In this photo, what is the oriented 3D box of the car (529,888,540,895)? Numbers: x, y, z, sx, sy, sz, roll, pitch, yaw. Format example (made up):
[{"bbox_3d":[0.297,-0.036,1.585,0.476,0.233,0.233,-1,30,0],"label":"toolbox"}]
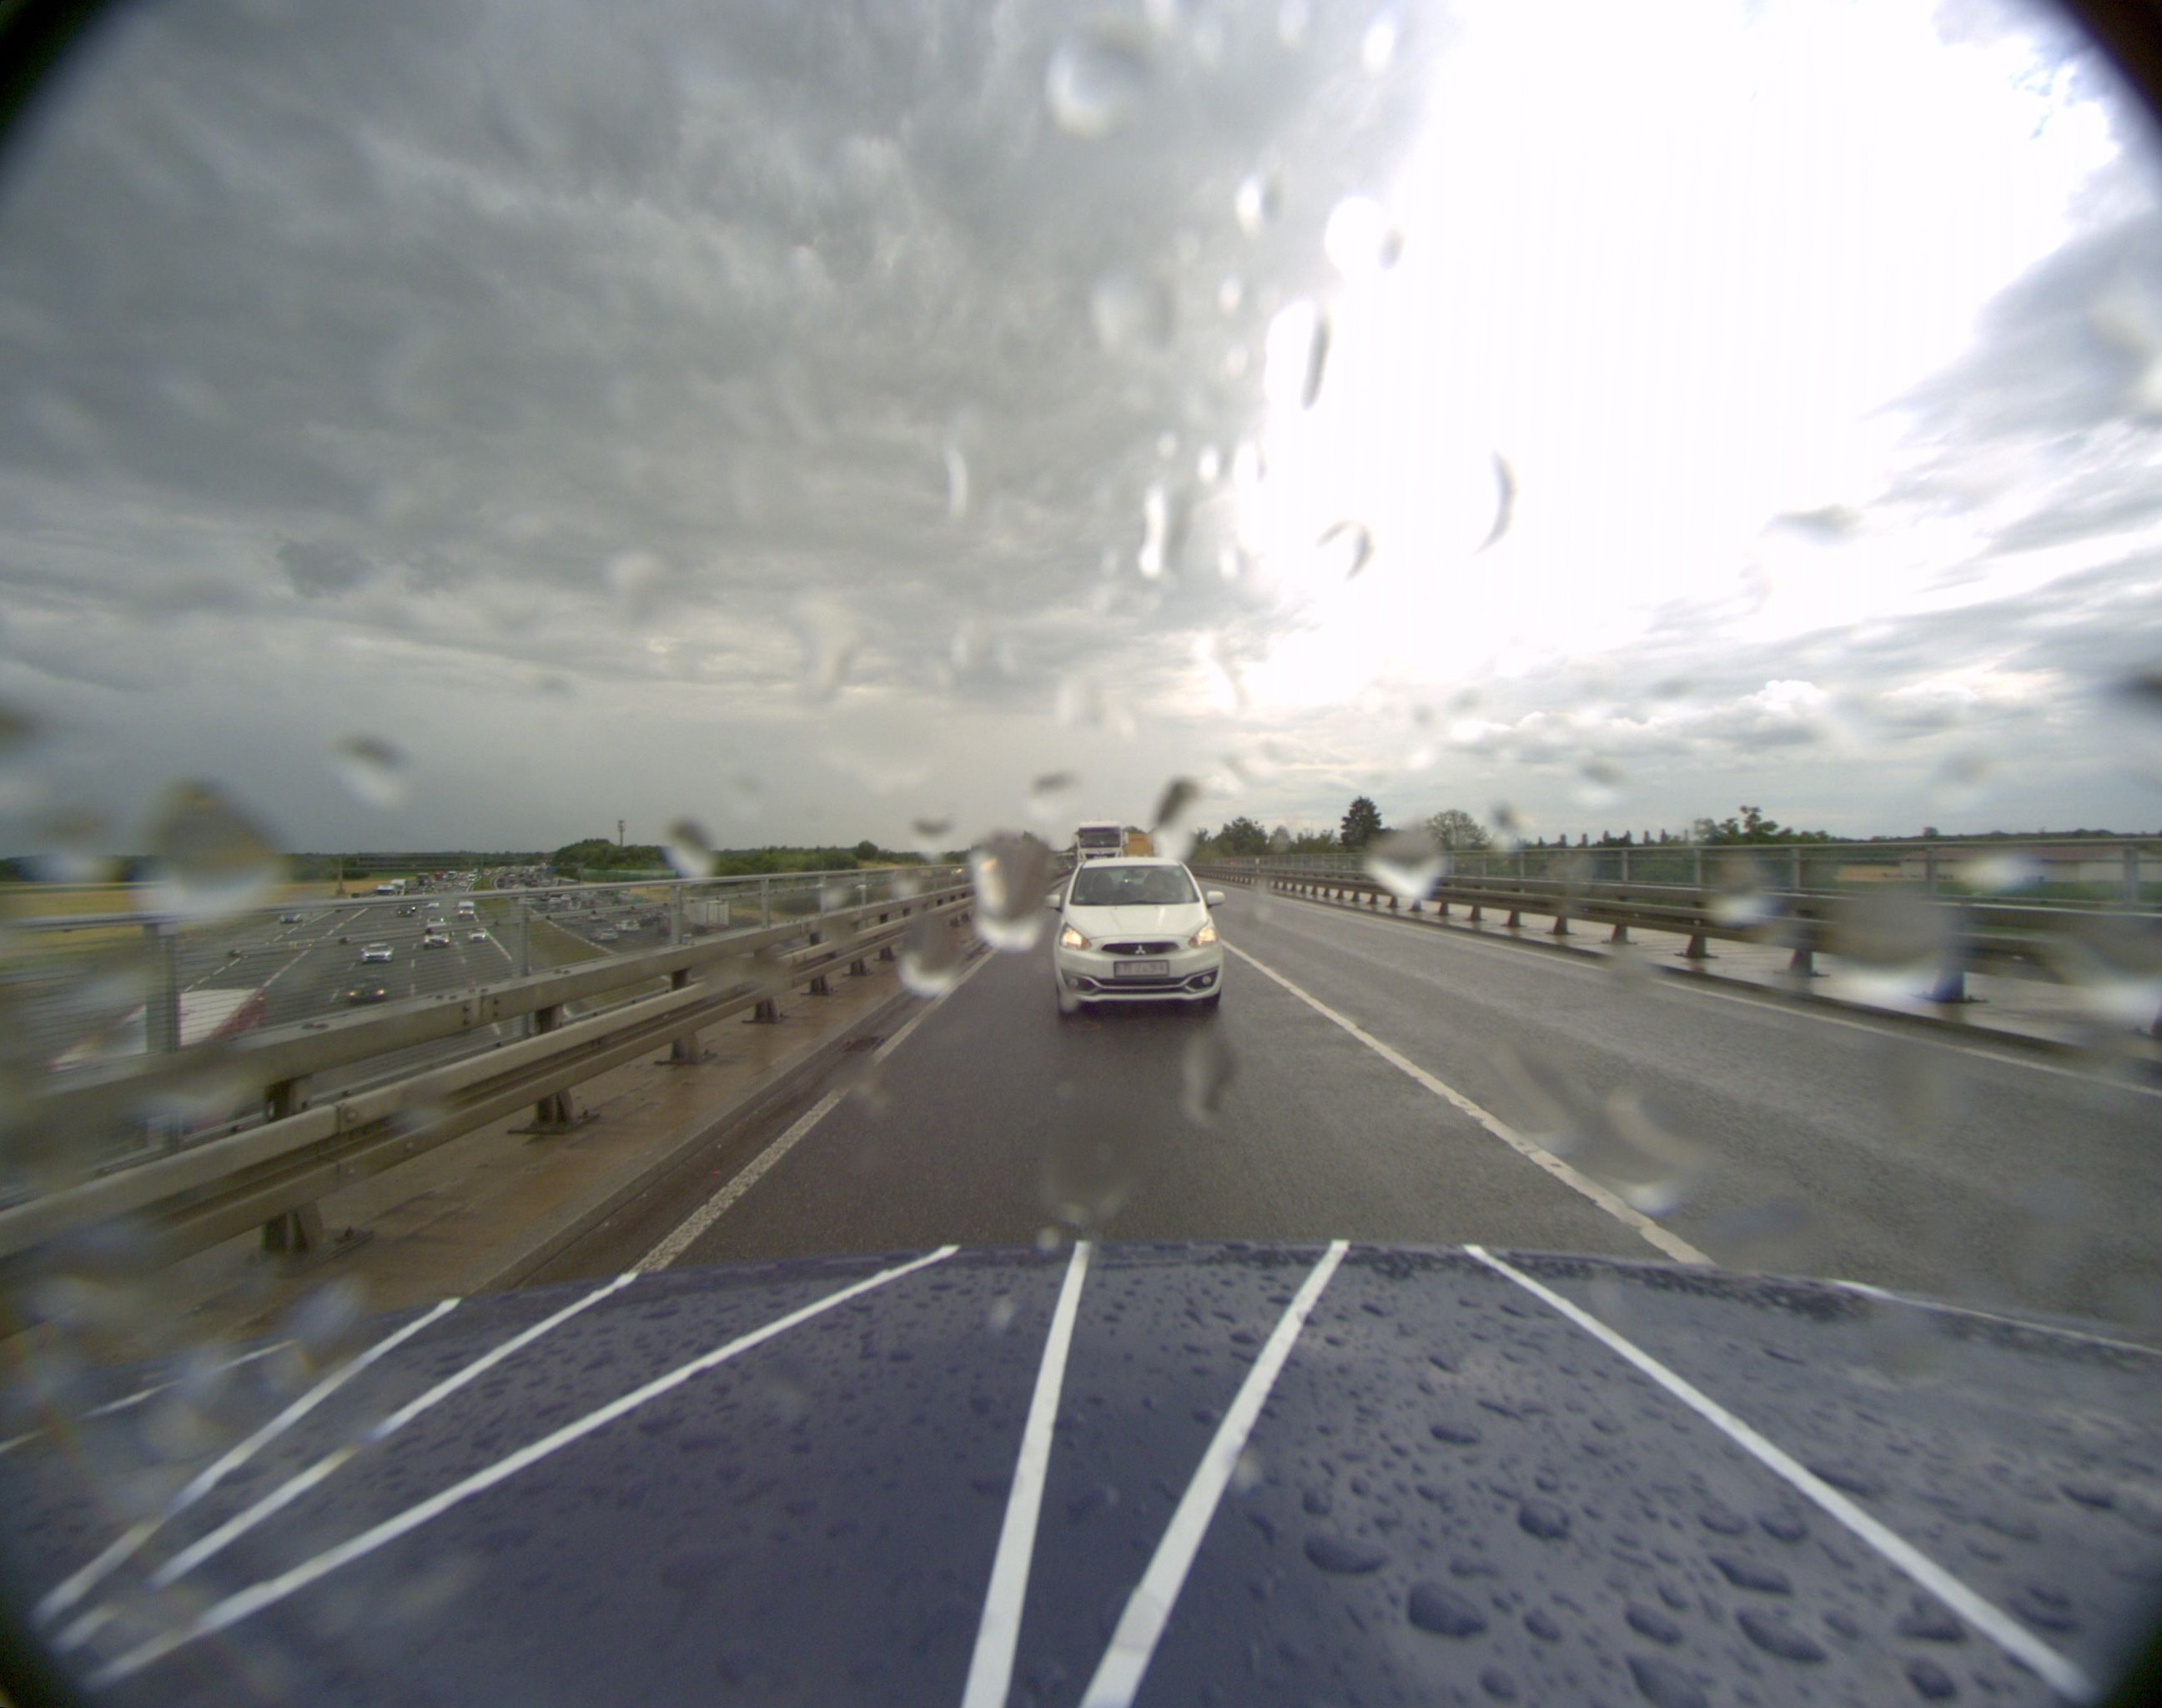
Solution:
[{"bbox_3d":[-142.049,9.742,197.509,1.860,1.764,4.712,-3,1,-40],"label":"car"}]

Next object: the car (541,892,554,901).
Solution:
[{"bbox_3d":[-116.439,9.193,165.895,1.860,1.764,4.712,-3,1,-40],"label":"car"}]

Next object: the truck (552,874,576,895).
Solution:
[{"bbox_3d":[-141.934,8.200,208.501,3.499,5.321,15.588,-3,1,-40],"label":"truck"}]

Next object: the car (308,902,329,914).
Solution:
[{"bbox_3d":[-123.784,8.757,123.377,1.860,1.659,4.712,-3,1,-40],"label":"car"}]

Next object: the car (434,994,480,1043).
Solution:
[{"bbox_3d":[-34.086,8.918,41.471,1.818,1.659,4.712,-3,1,-40],"label":"car"}]

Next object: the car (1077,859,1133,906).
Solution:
[{"bbox_3d":[0.780,0.896,25.656,1.675,1.366,4.129,-2,1,1],"label":"car"}]

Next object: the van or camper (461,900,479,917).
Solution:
[{"bbox_3d":[-98.143,8.710,122.033,2.063,2.436,7.311,-3,1,-40],"label":"van or camper"}]

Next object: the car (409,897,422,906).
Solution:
[{"bbox_3d":[-135.395,9.634,154.646,1.860,1.659,4.712,-3,1,-40],"label":"car"}]

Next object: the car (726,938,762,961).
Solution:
[{"bbox_3d":[-32.316,9.156,72.876,1.860,1.659,4.712,-3,1,-40],"label":"car"}]

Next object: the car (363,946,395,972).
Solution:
[{"bbox_3d":[-62.531,9.328,67.733,1.818,1.659,4.712,-3,1,-40],"label":"car"}]

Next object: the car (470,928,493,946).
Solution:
[{"bbox_3d":[-68.964,9.514,87.356,1.818,1.659,4.712,-3,1,-40],"label":"car"}]

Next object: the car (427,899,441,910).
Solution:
[{"bbox_3d":[-121.901,9.498,143.147,1.860,1.659,4.712,-3,1,-40],"label":"car"}]

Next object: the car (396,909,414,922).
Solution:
[{"bbox_3d":[-107.648,9.796,121.063,1.860,1.659,4.712,-3,1,-40],"label":"car"}]

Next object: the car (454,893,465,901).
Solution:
[{"bbox_3d":[-140.015,9.708,171.114,1.860,1.659,4.712,-3,1,-40],"label":"car"}]

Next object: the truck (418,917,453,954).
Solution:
[{"bbox_3d":[-68.896,8.664,81.248,2.601,3.161,8.373,-3,1,-39],"label":"truck"}]

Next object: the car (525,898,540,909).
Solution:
[{"bbox_3d":[-101.944,9.181,141.096,1.860,1.764,4.712,-3,1,-40],"label":"car"}]

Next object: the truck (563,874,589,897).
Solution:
[{"bbox_3d":[-125.062,7.754,188.065,3.499,5.321,15.588,-3,1,-40],"label":"truck"}]

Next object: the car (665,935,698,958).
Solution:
[{"bbox_3d":[-39.666,9.151,75.441,1.860,1.659,4.712,-3,1,-40],"label":"car"}]

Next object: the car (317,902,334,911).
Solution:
[{"bbox_3d":[-136.786,9.464,137.553,1.818,1.427,4.711,-3,1,-41],"label":"car"}]

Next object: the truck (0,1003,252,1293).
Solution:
[{"bbox_3d":[-25.619,7.201,20.727,2.691,4.599,9.727,-3,1,-40],"label":"truck"}]

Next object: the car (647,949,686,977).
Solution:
[{"bbox_3d":[-34.415,8.966,62.997,1.860,1.659,4.712,-3,1,-40],"label":"car"}]

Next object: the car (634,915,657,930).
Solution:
[{"bbox_3d":[-59.673,9.393,104.076,1.860,1.659,4.712,-3,1,-40],"label":"car"}]

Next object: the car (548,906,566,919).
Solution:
[{"bbox_3d":[-82.364,9.171,119.315,1.860,1.659,4.712,-3,1,-40],"label":"car"}]

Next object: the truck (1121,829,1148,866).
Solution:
[{"bbox_3d":[6.188,-0.738,89.571,2.689,3.993,10.055,-2,0,2],"label":"truck"}]

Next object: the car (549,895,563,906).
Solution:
[{"bbox_3d":[-104.070,9.197,150.532,1.860,1.764,4.712,-3,1,-40],"label":"car"}]

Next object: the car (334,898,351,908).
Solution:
[{"bbox_3d":[-146.975,9.681,151.239,1.860,1.659,4.712,-3,1,-40],"label":"car"}]

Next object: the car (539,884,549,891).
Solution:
[{"bbox_3d":[-151.276,9.358,213.875,1.860,1.764,4.712,-3,1,-40],"label":"car"}]

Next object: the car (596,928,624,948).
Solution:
[{"bbox_3d":[-51.343,9.093,82.751,1.860,1.659,4.712,-3,1,-40],"label":"car"}]

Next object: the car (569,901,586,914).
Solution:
[{"bbox_3d":[-85.422,9.043,128.917,1.860,1.764,4.712,-3,1,-40],"label":"car"}]

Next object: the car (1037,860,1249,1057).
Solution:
[{"bbox_3d":[0.537,0.874,8.242,1.675,1.476,4.129,-2,1,1],"label":"car"}]

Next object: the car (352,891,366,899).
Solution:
[{"bbox_3d":[-157.285,8.922,165.536,1.818,1.427,4.711,-3,1,-41],"label":"car"}]

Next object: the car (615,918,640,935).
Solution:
[{"bbox_3d":[-56.283,8.962,94.283,1.860,1.659,4.712,-3,1,-40],"label":"car"}]

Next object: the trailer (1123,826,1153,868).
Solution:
[{"bbox_3d":[5.923,-0.718,80.307,2.689,4.051,8.485,-2,0,2],"label":"trailer"}]

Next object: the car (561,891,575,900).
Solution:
[{"bbox_3d":[-111.472,9.086,165.104,1.860,1.764,4.712,-3,1,-40],"label":"car"}]

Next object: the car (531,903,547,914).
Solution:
[{"bbox_3d":[-95.436,9.565,133.766,1.860,1.659,4.712,-3,1,-40],"label":"car"}]

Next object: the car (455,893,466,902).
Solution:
[{"bbox_3d":[-139.243,9.708,170.487,1.860,1.659,4.712,-3,1,-40],"label":"car"}]

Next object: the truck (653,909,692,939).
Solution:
[{"bbox_3d":[-49.550,8.435,92.051,2.216,2.948,9.283,-3,1,-40],"label":"truck"}]

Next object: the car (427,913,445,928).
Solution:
[{"bbox_3d":[-90.494,9.335,106.561,1.818,1.659,4.712,-3,1,-40],"label":"car"}]

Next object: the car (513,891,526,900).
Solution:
[{"bbox_3d":[-125.077,9.228,169.264,1.860,1.764,4.712,-3,1,-40],"label":"car"}]

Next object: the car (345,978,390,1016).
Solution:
[{"bbox_3d":[-46.353,9.255,49.464,1.818,1.659,4.712,-3,1,-40],"label":"car"}]

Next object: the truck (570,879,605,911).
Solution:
[{"bbox_3d":[-93.946,7.676,144.485,3.302,5.411,15.588,-3,1,-40],"label":"truck"}]

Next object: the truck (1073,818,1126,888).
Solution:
[{"bbox_3d":[0.970,-0.221,43.788,2.630,3.537,8.474,-2,3,0],"label":"truck"}]

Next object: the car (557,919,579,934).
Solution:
[{"bbox_3d":[-68.322,9.610,101.149,1.860,1.659,4.712,-3,1,-40],"label":"car"}]

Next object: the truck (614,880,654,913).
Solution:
[{"bbox_3d":[-79.466,7.390,134.722,3.302,5.135,15.588,-3,1,-40],"label":"truck"}]

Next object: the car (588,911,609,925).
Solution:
[{"bbox_3d":[-70.573,9.373,111.106,1.860,1.659,4.712,-3,1,-40],"label":"car"}]

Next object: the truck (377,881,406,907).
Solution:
[{"bbox_3d":[-140.674,8.125,155.185,2.799,4.871,12.724,-3,1,-36],"label":"truck"}]

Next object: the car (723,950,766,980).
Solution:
[{"bbox_3d":[-27.013,8.863,60.975,1.860,1.659,4.712,-3,1,-40],"label":"car"}]

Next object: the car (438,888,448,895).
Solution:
[{"bbox_3d":[-164.419,9.697,195.848,1.860,1.659,4.712,-3,1,-40],"label":"car"}]

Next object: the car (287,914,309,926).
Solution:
[{"bbox_3d":[-113.453,9.554,110.134,1.818,1.427,4.711,-3,1,-41],"label":"car"}]

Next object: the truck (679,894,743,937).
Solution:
[{"bbox_3d":[-47.161,7.587,96.409,3.611,4.511,15.588,-3,1,-39],"label":"truck"}]
